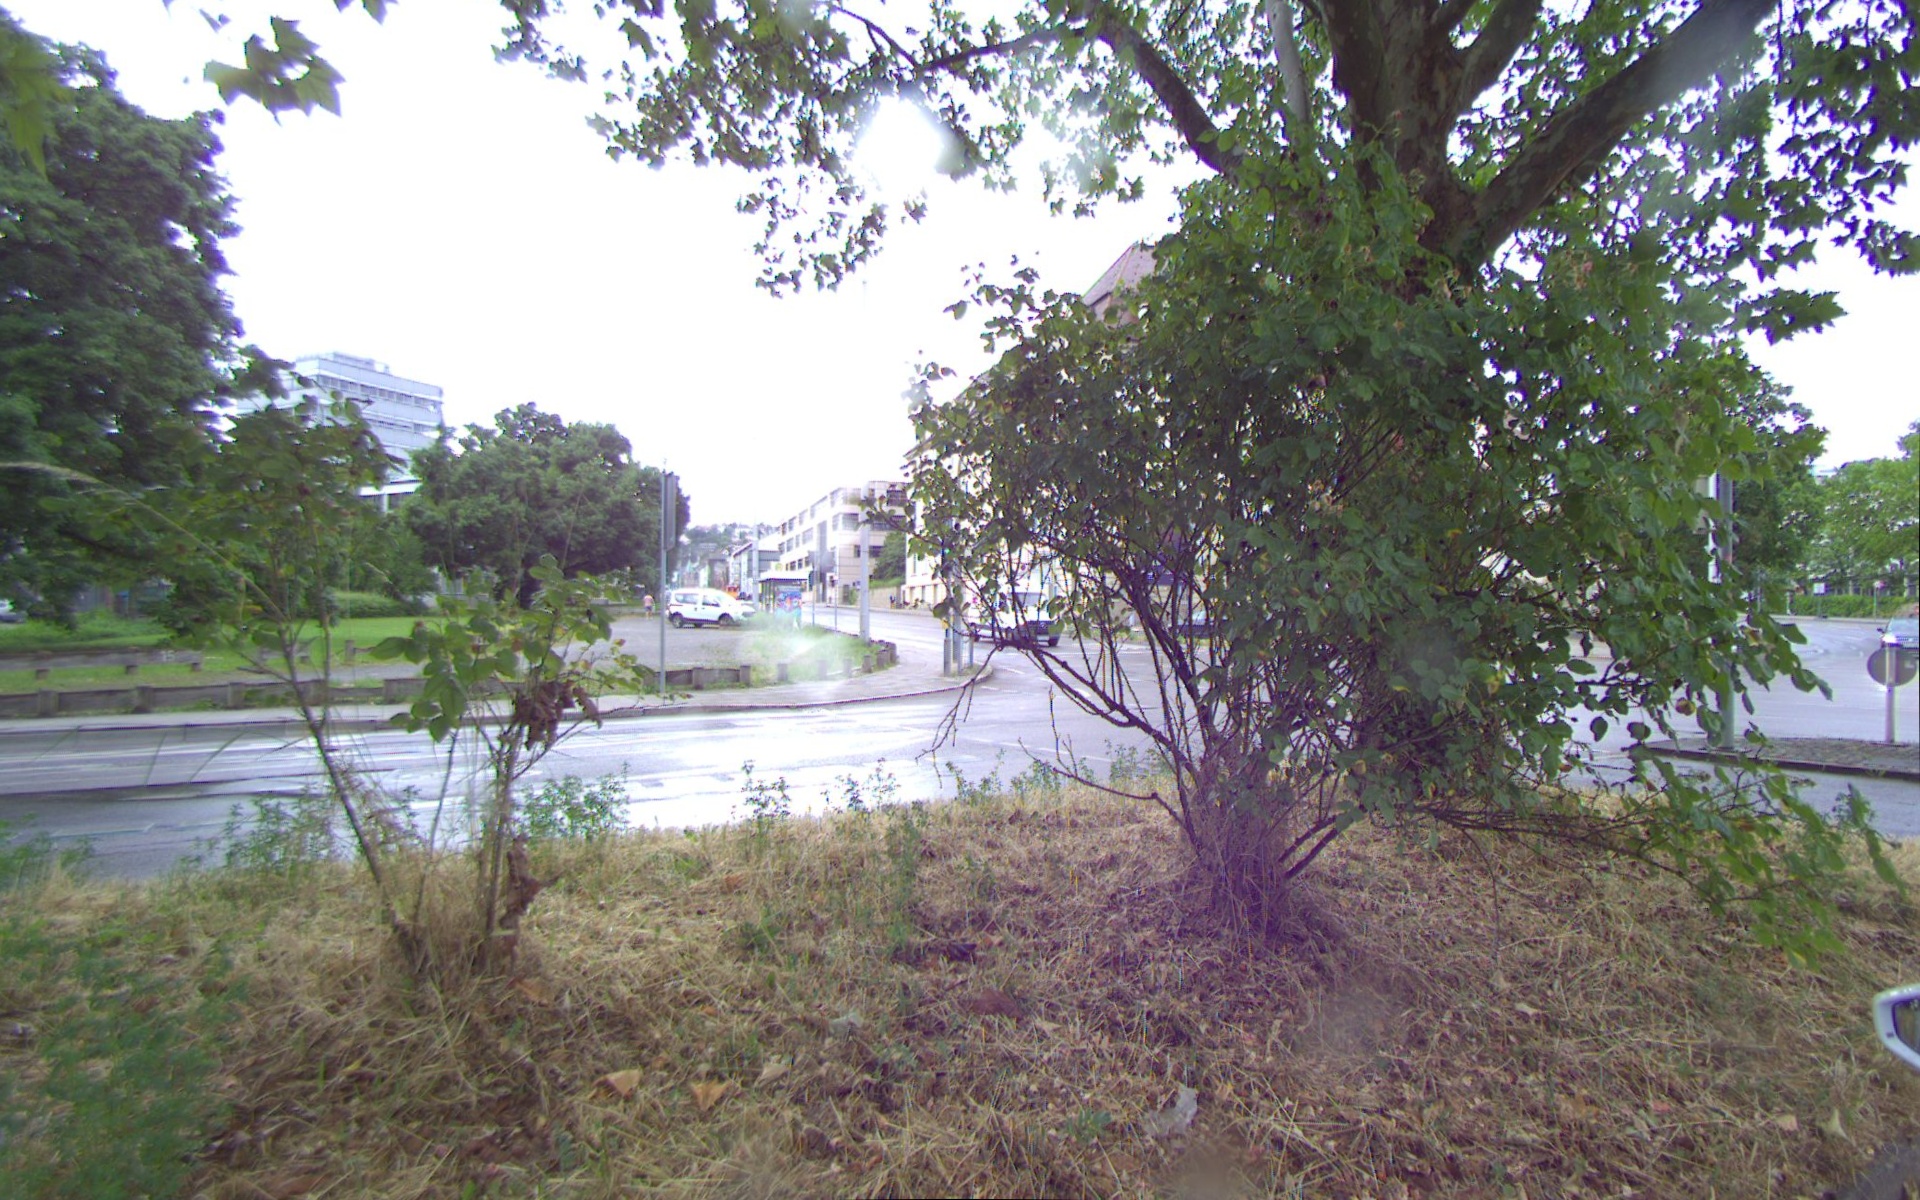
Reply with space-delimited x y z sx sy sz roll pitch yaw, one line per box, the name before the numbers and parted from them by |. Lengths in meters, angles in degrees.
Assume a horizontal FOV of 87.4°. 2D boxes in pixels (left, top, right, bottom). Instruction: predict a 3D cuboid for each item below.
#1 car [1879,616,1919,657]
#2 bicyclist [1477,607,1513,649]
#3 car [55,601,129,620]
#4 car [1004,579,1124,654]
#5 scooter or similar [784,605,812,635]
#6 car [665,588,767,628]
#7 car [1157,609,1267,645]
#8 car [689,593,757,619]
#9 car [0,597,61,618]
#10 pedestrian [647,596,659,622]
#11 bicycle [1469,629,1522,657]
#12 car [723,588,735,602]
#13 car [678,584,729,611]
car | 39.301 1.476 41.563 1.847 1.585 4.252 -1 -1 43
bicyclist | 21.516 1.120 40.407 1.112 1.654 0.699 2 0 42
car | -60.335 0.699 69.844 3.500 1.158 1.586 2 0 -18
car | 3.695 0.537 37.151 2.034 2.527 6.010 0 0 -20
scooter or similar | -6.580 0.795 40.843 0.541 1.182 1.253 2 0 20
car | -11.339 0.384 46.674 4.420 1.791 1.833 0 -1 24
car | 10.746 1.121 43.088 1.981 1.396 4.342 1 0 -36
car | -14.845 0.355 62.801 4.004 1.461 1.850 2 0 32
car | -58.526 0.455 62.482 3.500 1.158 1.586 2 0 -18
pedestrian | -18.914 0.544 61.904 0.557 1.548 0.669 2 0 -8
bicycle | 21.526 1.719 40.401 1.795 1.070 0.644 1 -1 42
car | -46.283 -1.040 201.123 1.969 2.652 3.983 2 0 -19
car | -17.317 -0.121 67.698 1.838 1.765 4.029 1 -1 -39
